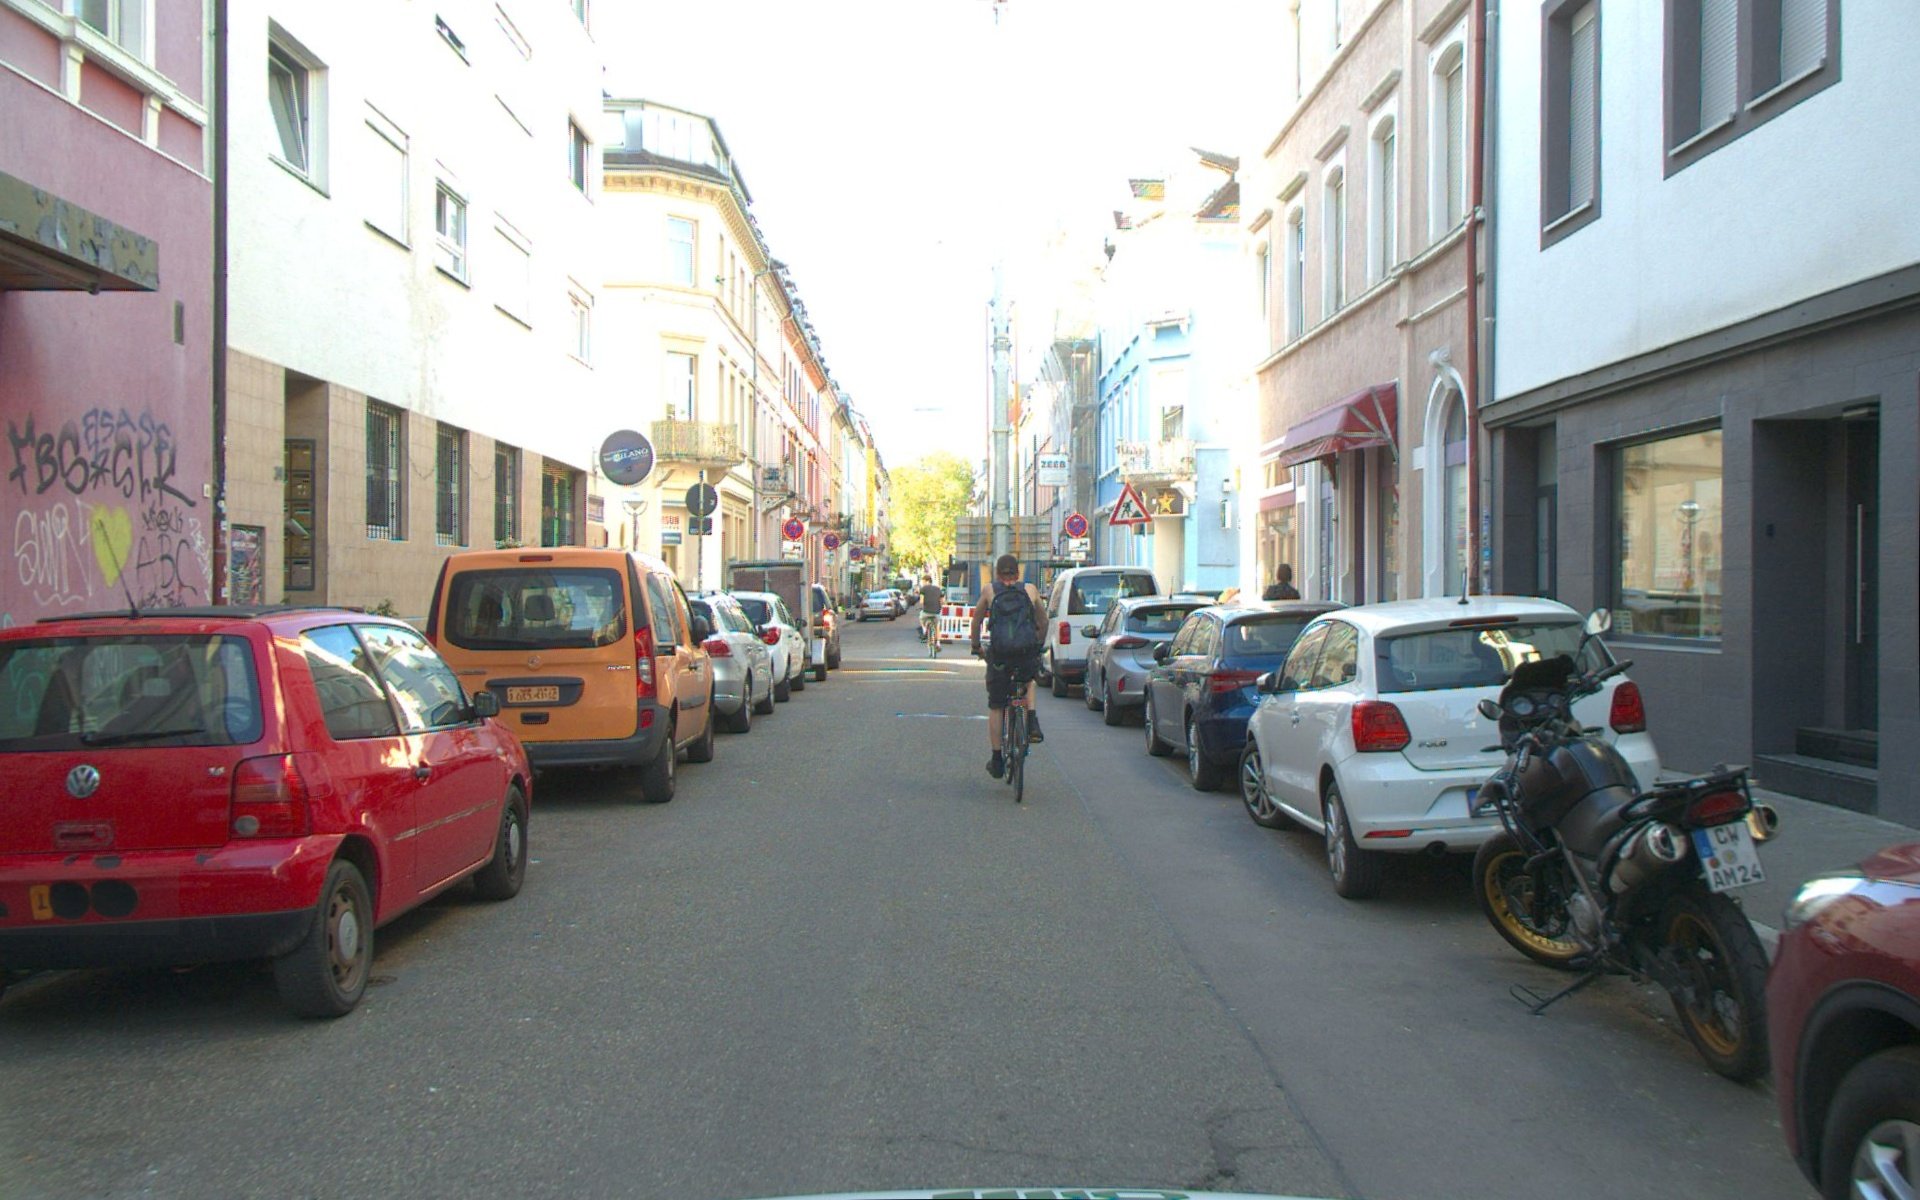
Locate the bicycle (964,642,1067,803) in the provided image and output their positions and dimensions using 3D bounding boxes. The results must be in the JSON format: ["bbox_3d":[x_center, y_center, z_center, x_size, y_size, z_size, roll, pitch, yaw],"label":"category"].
[{"bbox_3d":[0.397,0.897,12.766,0.663,1.093,1.941,1,0,-2],"label":"bicycle"}]

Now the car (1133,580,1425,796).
[{"bbox_3d":[2.596,0.666,14.358,1.613,1.500,3.970,-4,0,-1],"label":"car"}]

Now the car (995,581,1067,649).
[{"bbox_3d":[1.789,0.380,42.573,1.578,1.662,3.609,1,0,-1],"label":"car"}]

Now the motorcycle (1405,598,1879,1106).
[{"bbox_3d":[2.380,0.763,6.186,0.731,1.516,2.421,1,0,-1],"label":"motorcycle"}]

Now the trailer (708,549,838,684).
[{"bbox_3d":[-3.136,0.272,28.332,1.844,2.129,3.736,-1,0,-1],"label":"trailer"}]

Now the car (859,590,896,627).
[{"bbox_3d":[-4.042,0.417,81.458,1.714,1.713,3.795,-1,0,-1],"label":"car"}]

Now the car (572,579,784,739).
[{"bbox_3d":[-3.039,0.598,18.642,1.714,1.564,4.318,-1,0,-1],"label":"car"}]

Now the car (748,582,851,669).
[{"bbox_3d":[-3.111,0.480,32.647,1.714,1.600,3.795,-1,0,-1],"label":"car"}]

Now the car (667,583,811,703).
[{"bbox_3d":[-3.074,0.572,23.588,1.620,1.564,3.633,-1,0,-1],"label":"car"}]

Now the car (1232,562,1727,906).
[{"bbox_3d":[2.754,0.633,9.673,1.633,1.531,3.816,-3,0,0],"label":"car"}]

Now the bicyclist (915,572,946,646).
[{"bbox_3d":[-0.646,0.198,36.064,0.657,1.595,0.716,1,-1,-1],"label":"bicyclist"}]

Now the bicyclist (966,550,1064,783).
[{"bbox_3d":[0.408,0.492,12.742,0.654,1.706,1.097,1,0,-2],"label":"bicyclist"}]

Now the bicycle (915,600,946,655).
[{"bbox_3d":[-0.648,0.593,36.079,0.635,1.149,2.135,1,0,-1],"label":"bicycle"}]

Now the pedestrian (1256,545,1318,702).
[{"bbox_3d":[4.360,0.308,22.094,0.631,2.049,0.763,1,-1,-1],"label":"pedestrian"}]

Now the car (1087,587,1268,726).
[{"bbox_3d":[2.547,0.630,20.179,1.714,1.513,3.799,-1,0,0],"label":"car"}]

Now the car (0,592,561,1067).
[{"bbox_3d":[-2.916,0.759,7.156,1.546,1.509,3.564,-2,0,-1],"label":"car"}]

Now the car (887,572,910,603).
[{"bbox_3d":[-4.754,-0.977,128.523,1.714,2.358,3.795,-1,0,-1],"label":"car"}]

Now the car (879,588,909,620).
[{"bbox_3d":[-3.922,0.216,99.256,1.714,1.853,3.795,-1,0,-1],"label":"car"}]

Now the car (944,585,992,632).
[{"bbox_3d":[0.251,0.288,58.854,1.578,1.587,3.609,1,0,-1],"label":"car"}]

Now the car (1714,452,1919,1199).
[{"bbox_3d":[2.707,0.609,1.617,1.879,1.736,4.365,0,0,-1],"label":"car"}]

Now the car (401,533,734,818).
[{"bbox_3d":[-2.898,0.511,13.088,1.717,1.848,4.076,-2,0,-2],"label":"car"}]

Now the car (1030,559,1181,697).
[{"bbox_3d":[2.137,0.399,25.235,1.715,1.911,3.970,-1,0,-3],"label":"car"}]

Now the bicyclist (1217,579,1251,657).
[{"bbox_3d":[6.193,0.414,37.394,0.668,1.736,0.381,1,-1,-4],"label":"bicyclist"}]
